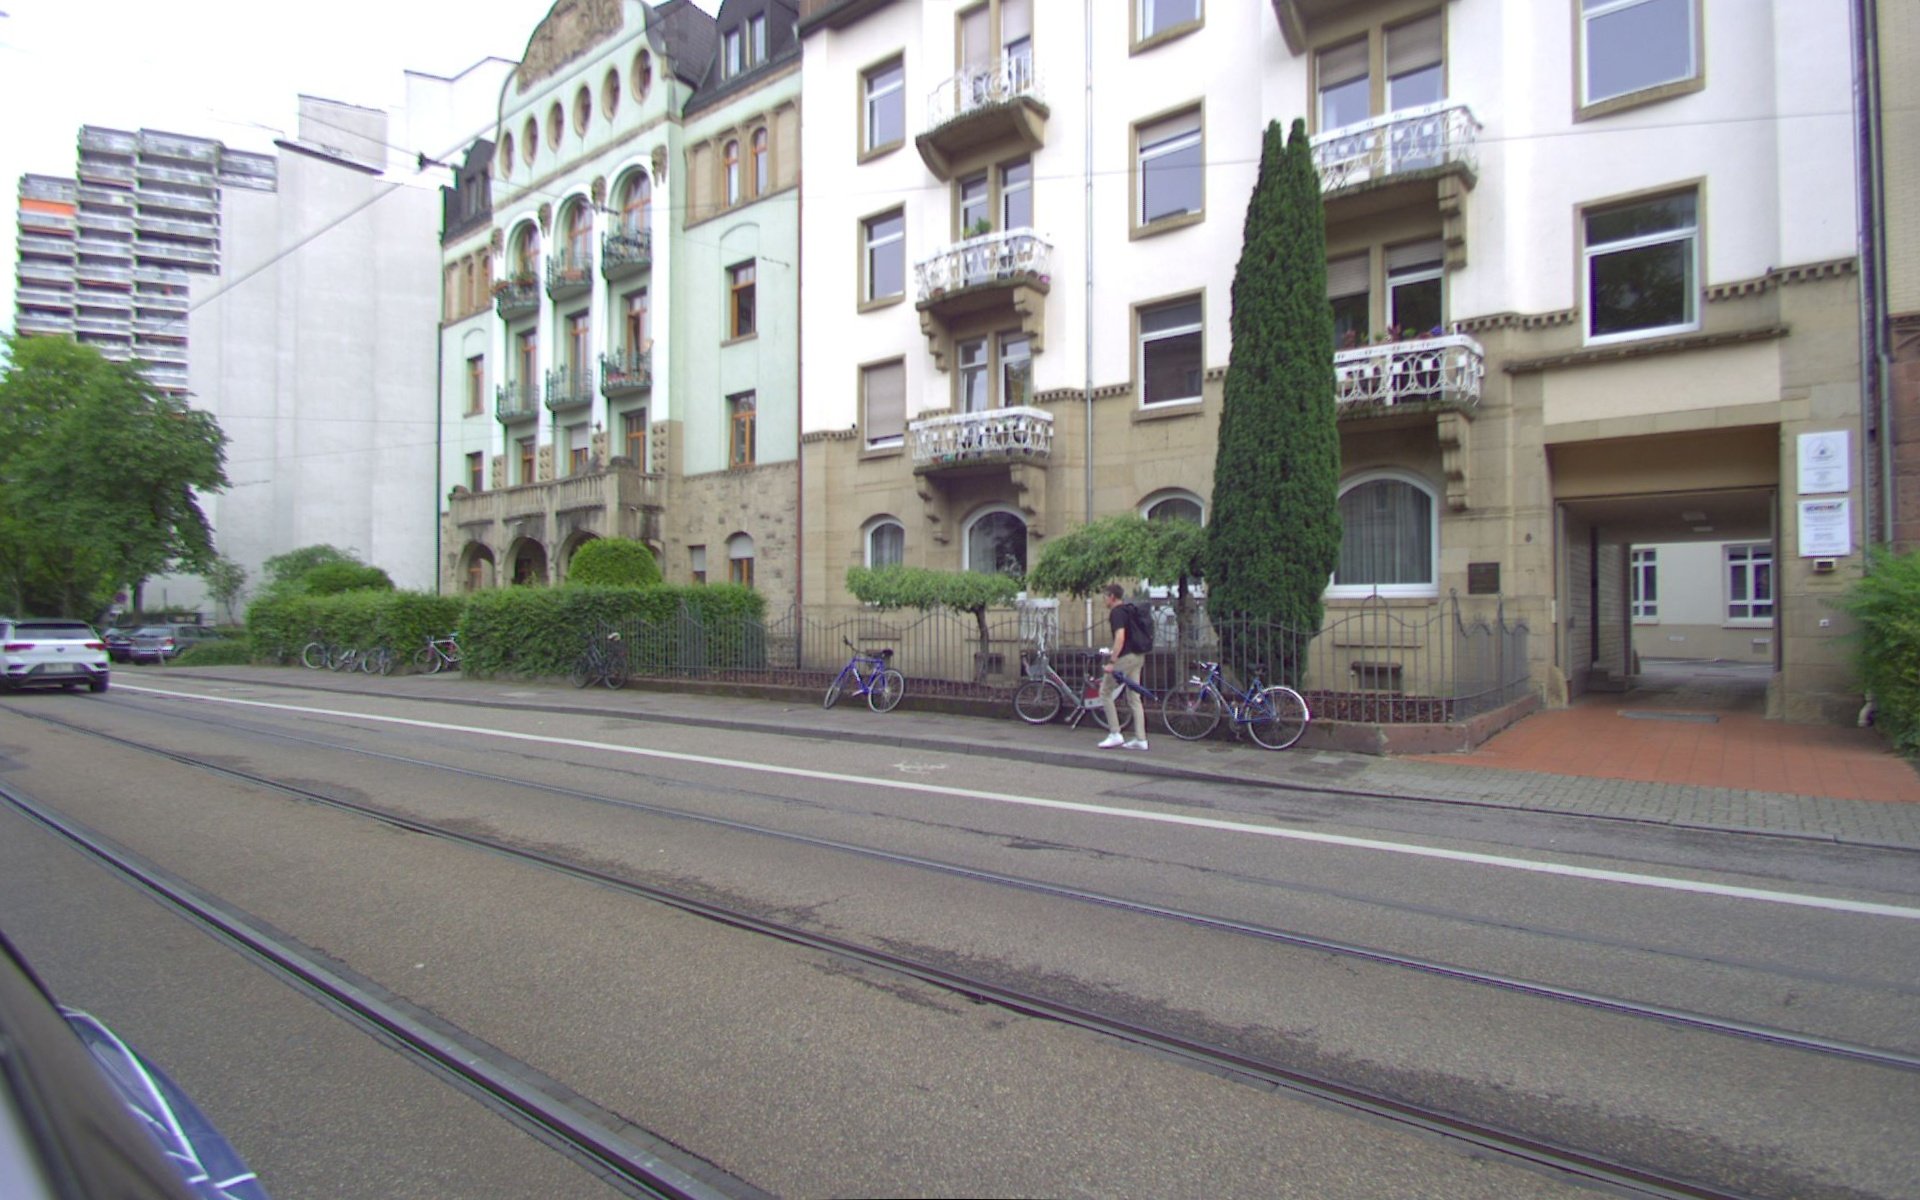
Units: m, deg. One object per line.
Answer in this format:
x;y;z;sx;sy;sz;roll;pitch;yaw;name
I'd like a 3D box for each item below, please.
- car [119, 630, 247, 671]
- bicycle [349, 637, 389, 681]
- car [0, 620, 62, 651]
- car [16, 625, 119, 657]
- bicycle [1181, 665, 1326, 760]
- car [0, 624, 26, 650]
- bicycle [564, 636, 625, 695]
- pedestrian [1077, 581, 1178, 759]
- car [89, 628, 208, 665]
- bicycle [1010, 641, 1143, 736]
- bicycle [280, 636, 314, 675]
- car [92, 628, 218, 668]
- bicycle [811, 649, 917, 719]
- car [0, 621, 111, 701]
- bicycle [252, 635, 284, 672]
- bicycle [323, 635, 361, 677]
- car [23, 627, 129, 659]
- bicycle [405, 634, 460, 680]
-28.198;1.804;36.903;1.671;1.413;4.001;0;-1;-1;car
-15.175;1.491;25.975;1.545;1.092;0.356;-1;-2;39;bicycle
-51.004;1.908;54.679;1.669;1.632;4.004;0;-1;-5;car
-43.108;1.957;49.003;1.669;1.453;4.004;0;-1;-5;car
3.206;1.210;11.142;1.513;0.945;0.329;-1;-2;39;bicycle
-61.136;2.314;63.462;1.669;1.632;4.004;0;-1;-5;car
-7.065;1.250;19.528;1.545;1.092;0.356;-1;-2;39;bicycle
1.832;0.741;11.091;0.881;1.858;0.661;-1;-2;38;pedestrian
-32.679;1.835;40.899;1.671;1.413;4.001;0;-1;-1;car
1.427;1.073;12.580;1.617;1.110;0.382;-1;-2;28;bicycle
-19.134;1.597;29.210;1.545;1.092;0.356;-1;-2;39;bicycle
-30.515;1.779;38.535;1.671;1.413;4.001;0;-1;-1;car
-1.453;1.232;15.130;1.660;0.935;0.354;-2;-21;41;bicycle
-19.239;1.208;20.934;3.924;1.508;1.683;-1;-3;37;car
-21.179;1.631;30.980;1.545;1.092;0.356;-1;-2;39;bicycle
-16.601;1.496;27.161;1.545;1.092;0.356;-1;-2;39;bicycle
-40.874;1.944;46.915;1.669;1.405;4.004;0;-1;-5;car
-13.453;1.441;25.813;0.300;1.091;1.190;-1;1;40;bicycle
